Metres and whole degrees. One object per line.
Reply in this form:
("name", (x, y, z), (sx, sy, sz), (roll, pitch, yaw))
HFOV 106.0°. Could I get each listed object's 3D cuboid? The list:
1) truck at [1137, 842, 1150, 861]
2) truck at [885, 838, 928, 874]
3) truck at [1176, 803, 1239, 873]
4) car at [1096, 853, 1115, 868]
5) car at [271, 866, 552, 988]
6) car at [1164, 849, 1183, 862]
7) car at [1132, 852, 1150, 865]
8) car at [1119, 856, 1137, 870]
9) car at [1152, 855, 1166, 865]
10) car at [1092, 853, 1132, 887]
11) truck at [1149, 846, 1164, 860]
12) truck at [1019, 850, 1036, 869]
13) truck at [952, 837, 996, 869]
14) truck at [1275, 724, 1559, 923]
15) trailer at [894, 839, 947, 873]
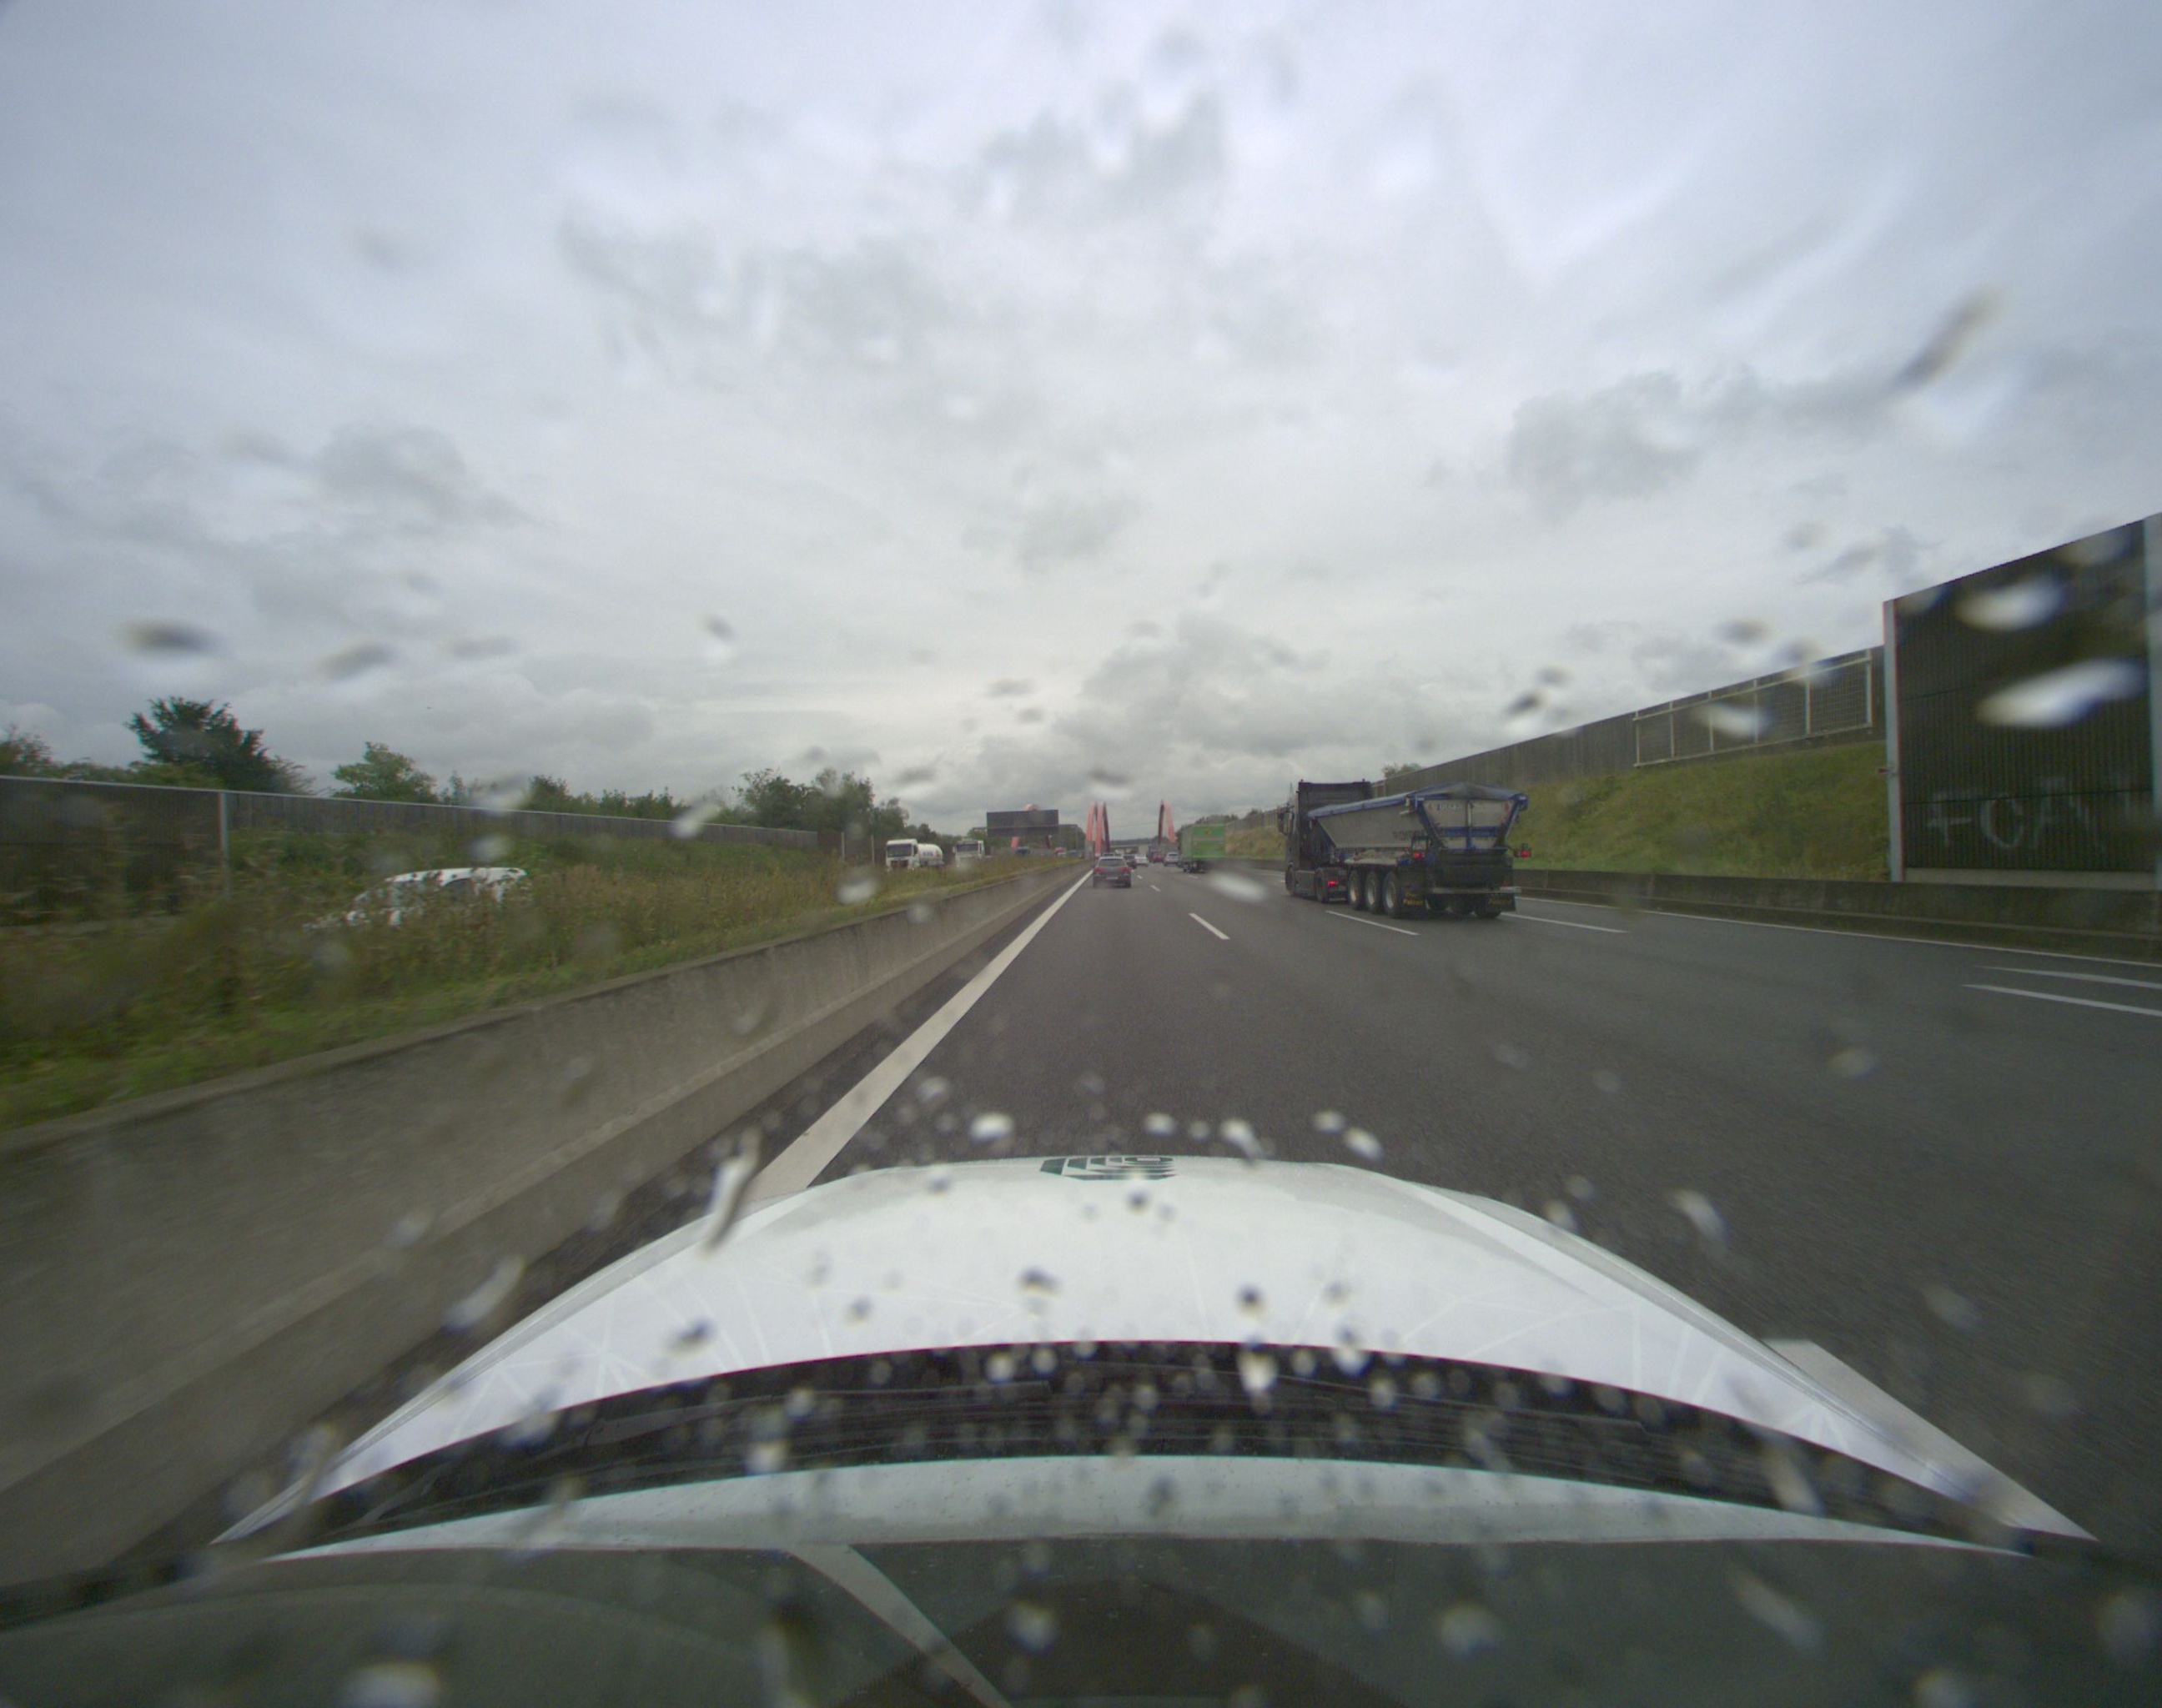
("truck", (15.674, -0.513, 206.022), (3.032, 4.734, 7.685), (0, 0, 3))
("truck", (-15.148, 0.198, 71.009), (2.613, 3.019, 5.611), (0, 0, -1))
("truck", (10.110, -1.197, 66.597), (3.981, 5.266, 11.227), (0, 0, 3))
("car", (2.748, 0.687, 91.226), (1.986, 1.585, 4.001), (-2, 0, 1))
("car", (-12.884, 1.288, 16.109), (1.986, 2.013, 4.199), (-1, 0, 2))
("car", (11.336, 0.186, 100.082), (1.986, 1.619, 5.330), (0, 0, 2))
("car", (7.218, 0.554, 97.776), (1.986, 1.486, 4.002), (-1, 0, 2))
("car", (4.816, 0.909, 83.320), (1.775, 1.406, 3.628), (-1, 0, 2))
("car", (12.491, 0.933, 130.416), (1.950, 1.647, 4.002), (0, 0, 2))
("car", (1.462, 0.704, 37.671), (1.756, 1.453, 4.003), (-1, 0, 3))
("truck", (13.495, -0.175, 145.586), (2.351, 2.506, 6.148), (-1, 0, 3))
("truck", (-11.200, 1.178, 172.007), (2.851, 3.838, 7.525), (0, 0, 2))
("truck", (-10.760, -0.084, 82.590), (2.944, 3.067, 8.732), (0, 0, 2))
("truck", (8.341, -0.612, 22.908), (2.803, 3.950, 12.715), (-2, 0, 1))
("trailer", (-15.031, 0.186, 77.243), (2.602, 2.989, 10.799), (-1, 0, 1))
